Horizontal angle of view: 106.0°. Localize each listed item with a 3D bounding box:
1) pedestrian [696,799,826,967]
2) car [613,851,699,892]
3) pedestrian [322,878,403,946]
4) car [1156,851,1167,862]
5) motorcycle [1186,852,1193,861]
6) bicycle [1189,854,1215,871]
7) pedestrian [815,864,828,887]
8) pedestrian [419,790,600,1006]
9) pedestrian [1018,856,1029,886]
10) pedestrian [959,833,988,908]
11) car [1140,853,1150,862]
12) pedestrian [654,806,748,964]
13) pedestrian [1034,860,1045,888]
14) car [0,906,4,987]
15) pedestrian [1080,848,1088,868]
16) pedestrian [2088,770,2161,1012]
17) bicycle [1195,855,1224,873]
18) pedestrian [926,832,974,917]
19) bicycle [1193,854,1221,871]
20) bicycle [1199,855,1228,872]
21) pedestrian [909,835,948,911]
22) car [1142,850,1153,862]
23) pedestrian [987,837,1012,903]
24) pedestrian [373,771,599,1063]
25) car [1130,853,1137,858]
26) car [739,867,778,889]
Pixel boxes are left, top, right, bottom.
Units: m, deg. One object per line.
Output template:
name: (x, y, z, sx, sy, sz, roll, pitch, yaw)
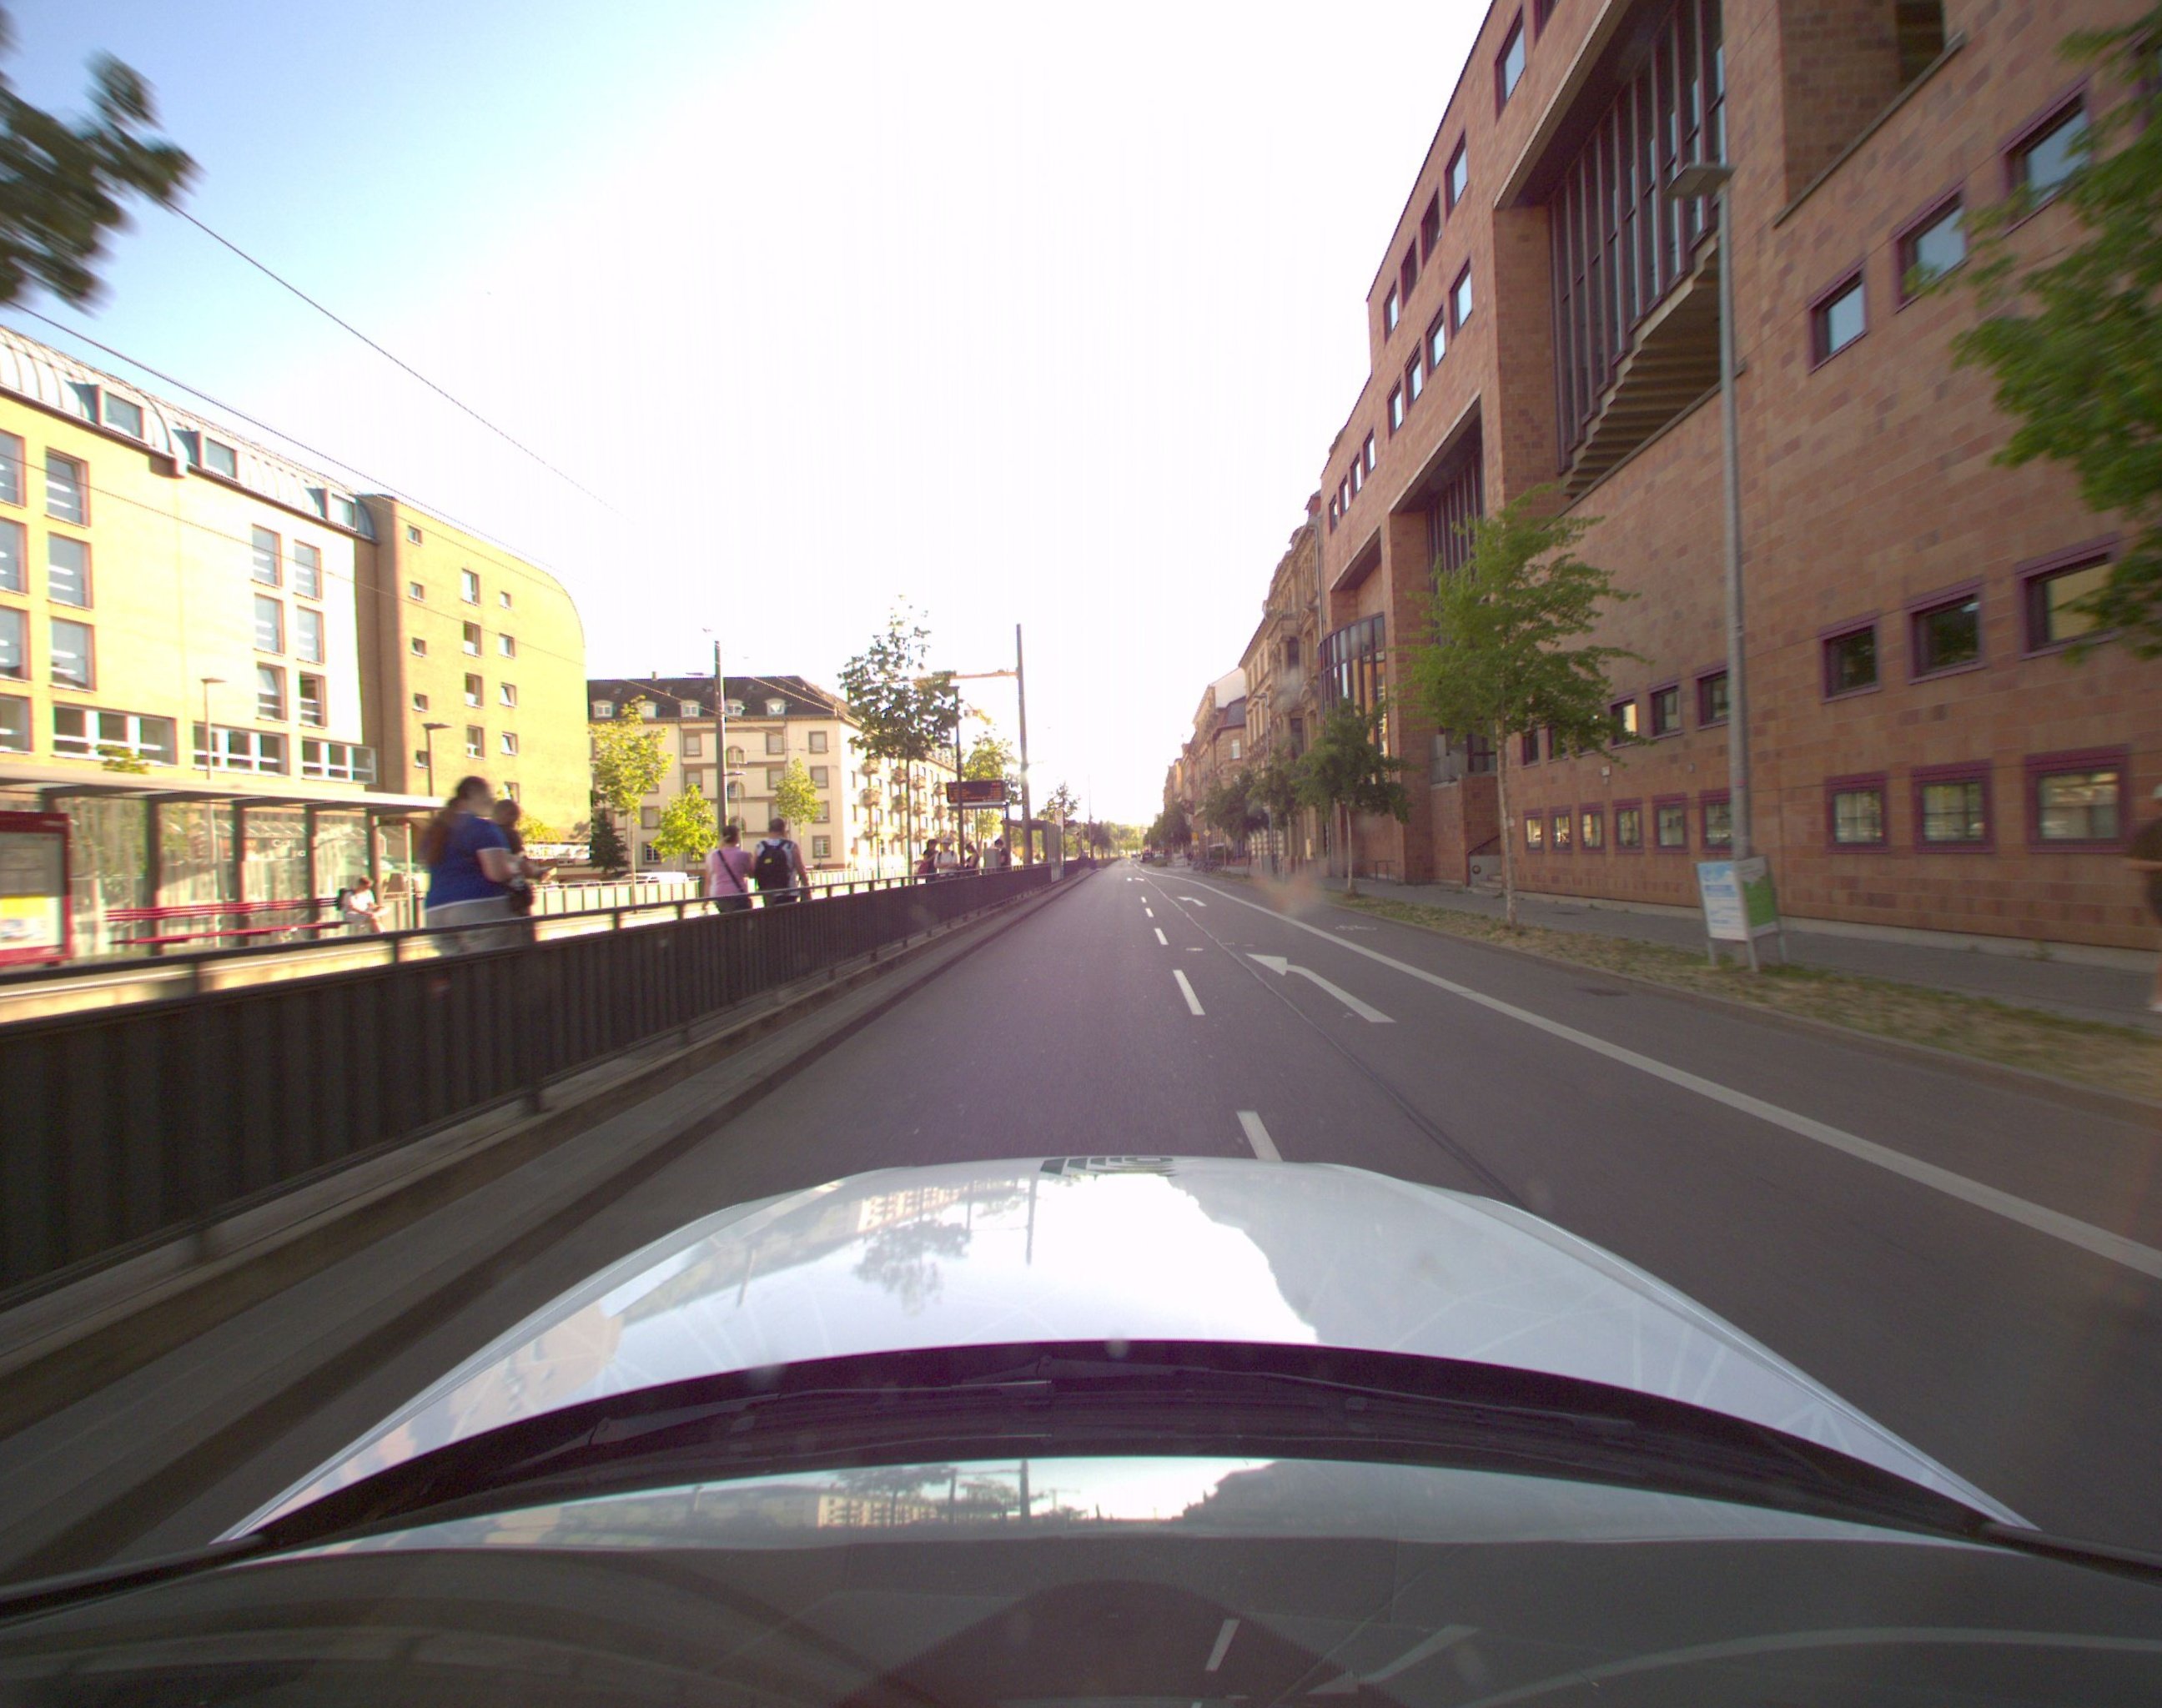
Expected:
pedestrian: (-3.433, 0.299, 8.844, 0.884, 1.672, 1.096, -2, 0, 1)
car: (-23.078, 0.914, 44.436, 1.982, 2.013, 4.158, -2, 1, 9)
pedestrian: (-13.626, 1.085, 15.472, 0.670, 1.189, 0.907, -2, 0, 2)
car: (12.548, 0.438, 126.844, 1.629, 1.486, 4.218, -4, 1, 6)
motorcycle: (16.206, 0.334, 121.481, 0.791, 1.308, 2.854, -4, 1, 3)
bicycle: (9.045, 0.634, 60.879, 1.821, 1.064, 0.663, -5, 1, -2)
pedestrian: (-23.241, 1.935, 72.925, 0.797, 2.013, 0.626, -3, 0, 3)
pedestrian: (-4.222, 0.312, 6.074, 0.678, 1.483, 0.831, -2, 0, 8)
pedestrian: (-2.658, 0.771, 37.387, 0.428, 1.385, 0.406, -2, 0, -9)
pedestrian: (-2.541, 0.394, 19.334, 0.503, 1.732, 0.652, -2, 0, 2)
car: (12.254, 0.683, 156.832, 1.841, 1.457, 4.162, -3, 1, 5)
pedestrian: (-4.220, 0.330, 9.083, 0.654, 1.672, 0.672, -2, 0, 1)
pedestrian: (-1.762, 0.839, 34.444, 0.406, 1.190, 0.428, -2, 0, -10)
car: (-22.493, 1.775, 14.035, 1.877, 1.866, 4.323, -3, 1, 5)
pedestrian: (0.255, 0.356, 67.877, 0.652, 1.643, 0.868, -2, -1, 3)
pedestrian: (8.105, 0.259, 6.088, 0.533, 1.756, 0.423, -2, 0, 11)
bicycle: (8.906, 0.697, 56.647, 1.821, 1.064, 0.663, -5, 1, -2)
pedestrian: (-2.494, 0.386, 15.586, 0.670, 1.562, 0.907, -2, 0, 2)
bicycle: (9.185, 0.647, 59.397, 1.821, 1.064, 0.663, -5, 1, -2)
bicycle: (9.435, 0.655, 57.999, 1.821, 1.064, 0.663, -5, 1, -2)
pedestrian: (-3.577, 0.444, 19.137, 0.717, 1.732, 0.652, -2, 0, 2)
car: (11.722, 0.393, 143.041, 1.876, 1.937, 4.479, -3, 1, 5)
pedestrian: (-2.132, 0.415, 21.387, 0.503, 1.679, 0.652, -2, 0, 2)
pedestrian: (-3.685, 0.358, 5.123, 0.888, 1.672, 0.669, -2, 0, -11)
car: (16.517, 0.526, 255.491, 1.786, 1.464, 4.011, -3, 0, 10)
car: (-27.590, 2.044, 69.802, 1.832, 1.585, 4.127, -3, 1, -2)
